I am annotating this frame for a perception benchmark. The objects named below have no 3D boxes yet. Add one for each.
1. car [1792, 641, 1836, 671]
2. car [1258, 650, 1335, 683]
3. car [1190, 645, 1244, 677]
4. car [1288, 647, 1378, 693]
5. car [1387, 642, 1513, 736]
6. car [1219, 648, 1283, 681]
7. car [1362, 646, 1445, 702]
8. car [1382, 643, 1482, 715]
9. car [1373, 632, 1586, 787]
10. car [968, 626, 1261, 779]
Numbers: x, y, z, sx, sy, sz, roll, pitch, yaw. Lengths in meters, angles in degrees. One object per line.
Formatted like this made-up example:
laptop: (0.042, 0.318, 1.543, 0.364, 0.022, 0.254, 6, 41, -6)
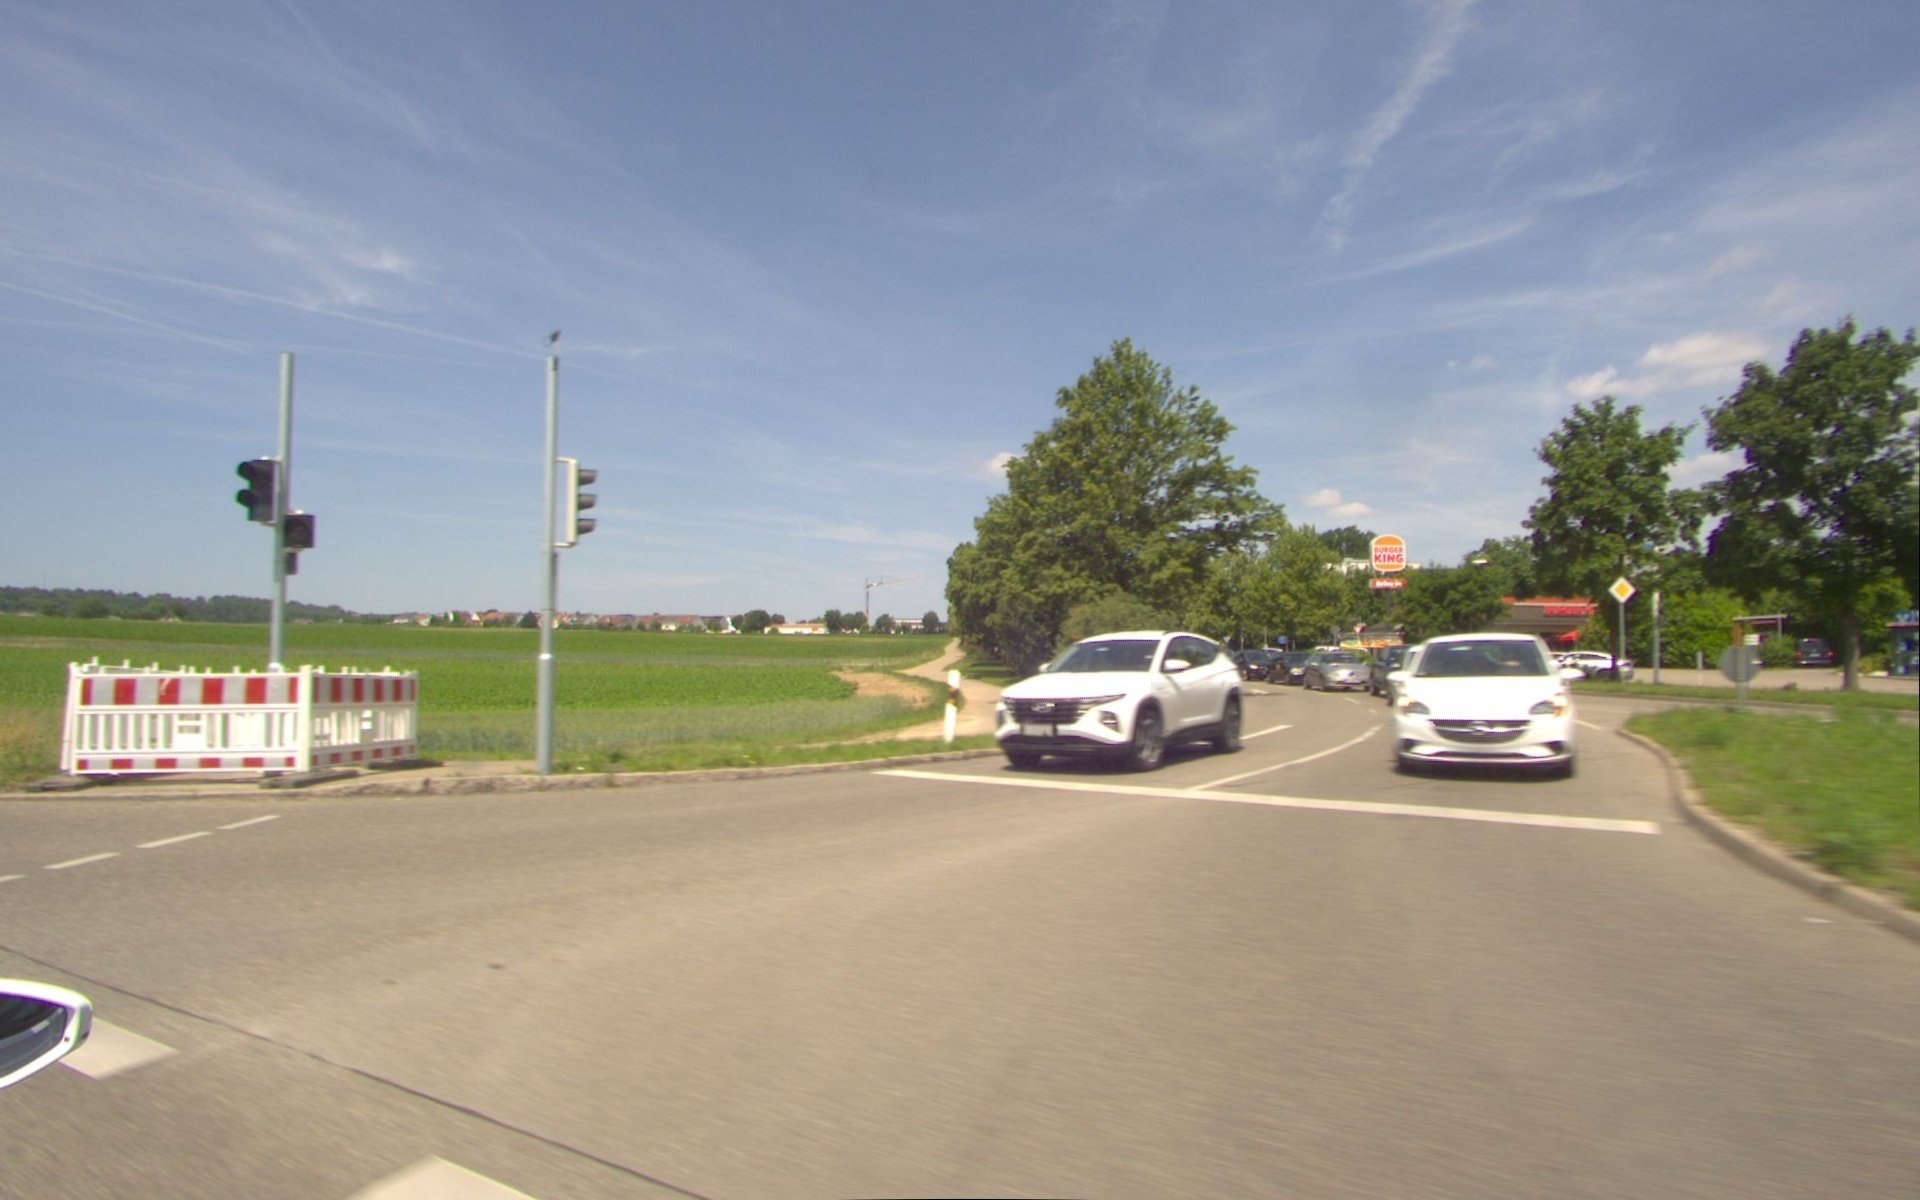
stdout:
car: (55.924, 3.634, 65.616, 1.815, 1.861, 3.976, -1, -2, 36)
car: (14.414, 2.840, 43.117, 1.766, 1.288, 4.566, -1, -3, 0)
car: (14.540, 3.425, 56.793, 1.961, 1.718, 4.295, -1, -3, 0)
car: (13.324, 2.469, 36.062, 1.766, 1.528, 4.565, -1, -3, 4)
car: (8.637, 1.495, 17.844, 1.772, 1.437, 4.095, -2, -2, 24)
car: (14.279, 3.165, 49.361, 1.766, 1.528, 4.236, -1, -3, -2)
car: (13.166, 2.219, 29.943, 1.769, 1.528, 4.559, -2, -4, 18)
car: (11.136, 1.851, 23.883, 1.770, 1.528, 4.555, -2, -4, 21)
car: (5.900, 1.122, 11.477, 1.800, 1.436, 3.959, -2, -3, 27)
car: (2.207, 1.250, 13.107, 1.972, 1.627, 4.616, -3, -4, 35)
